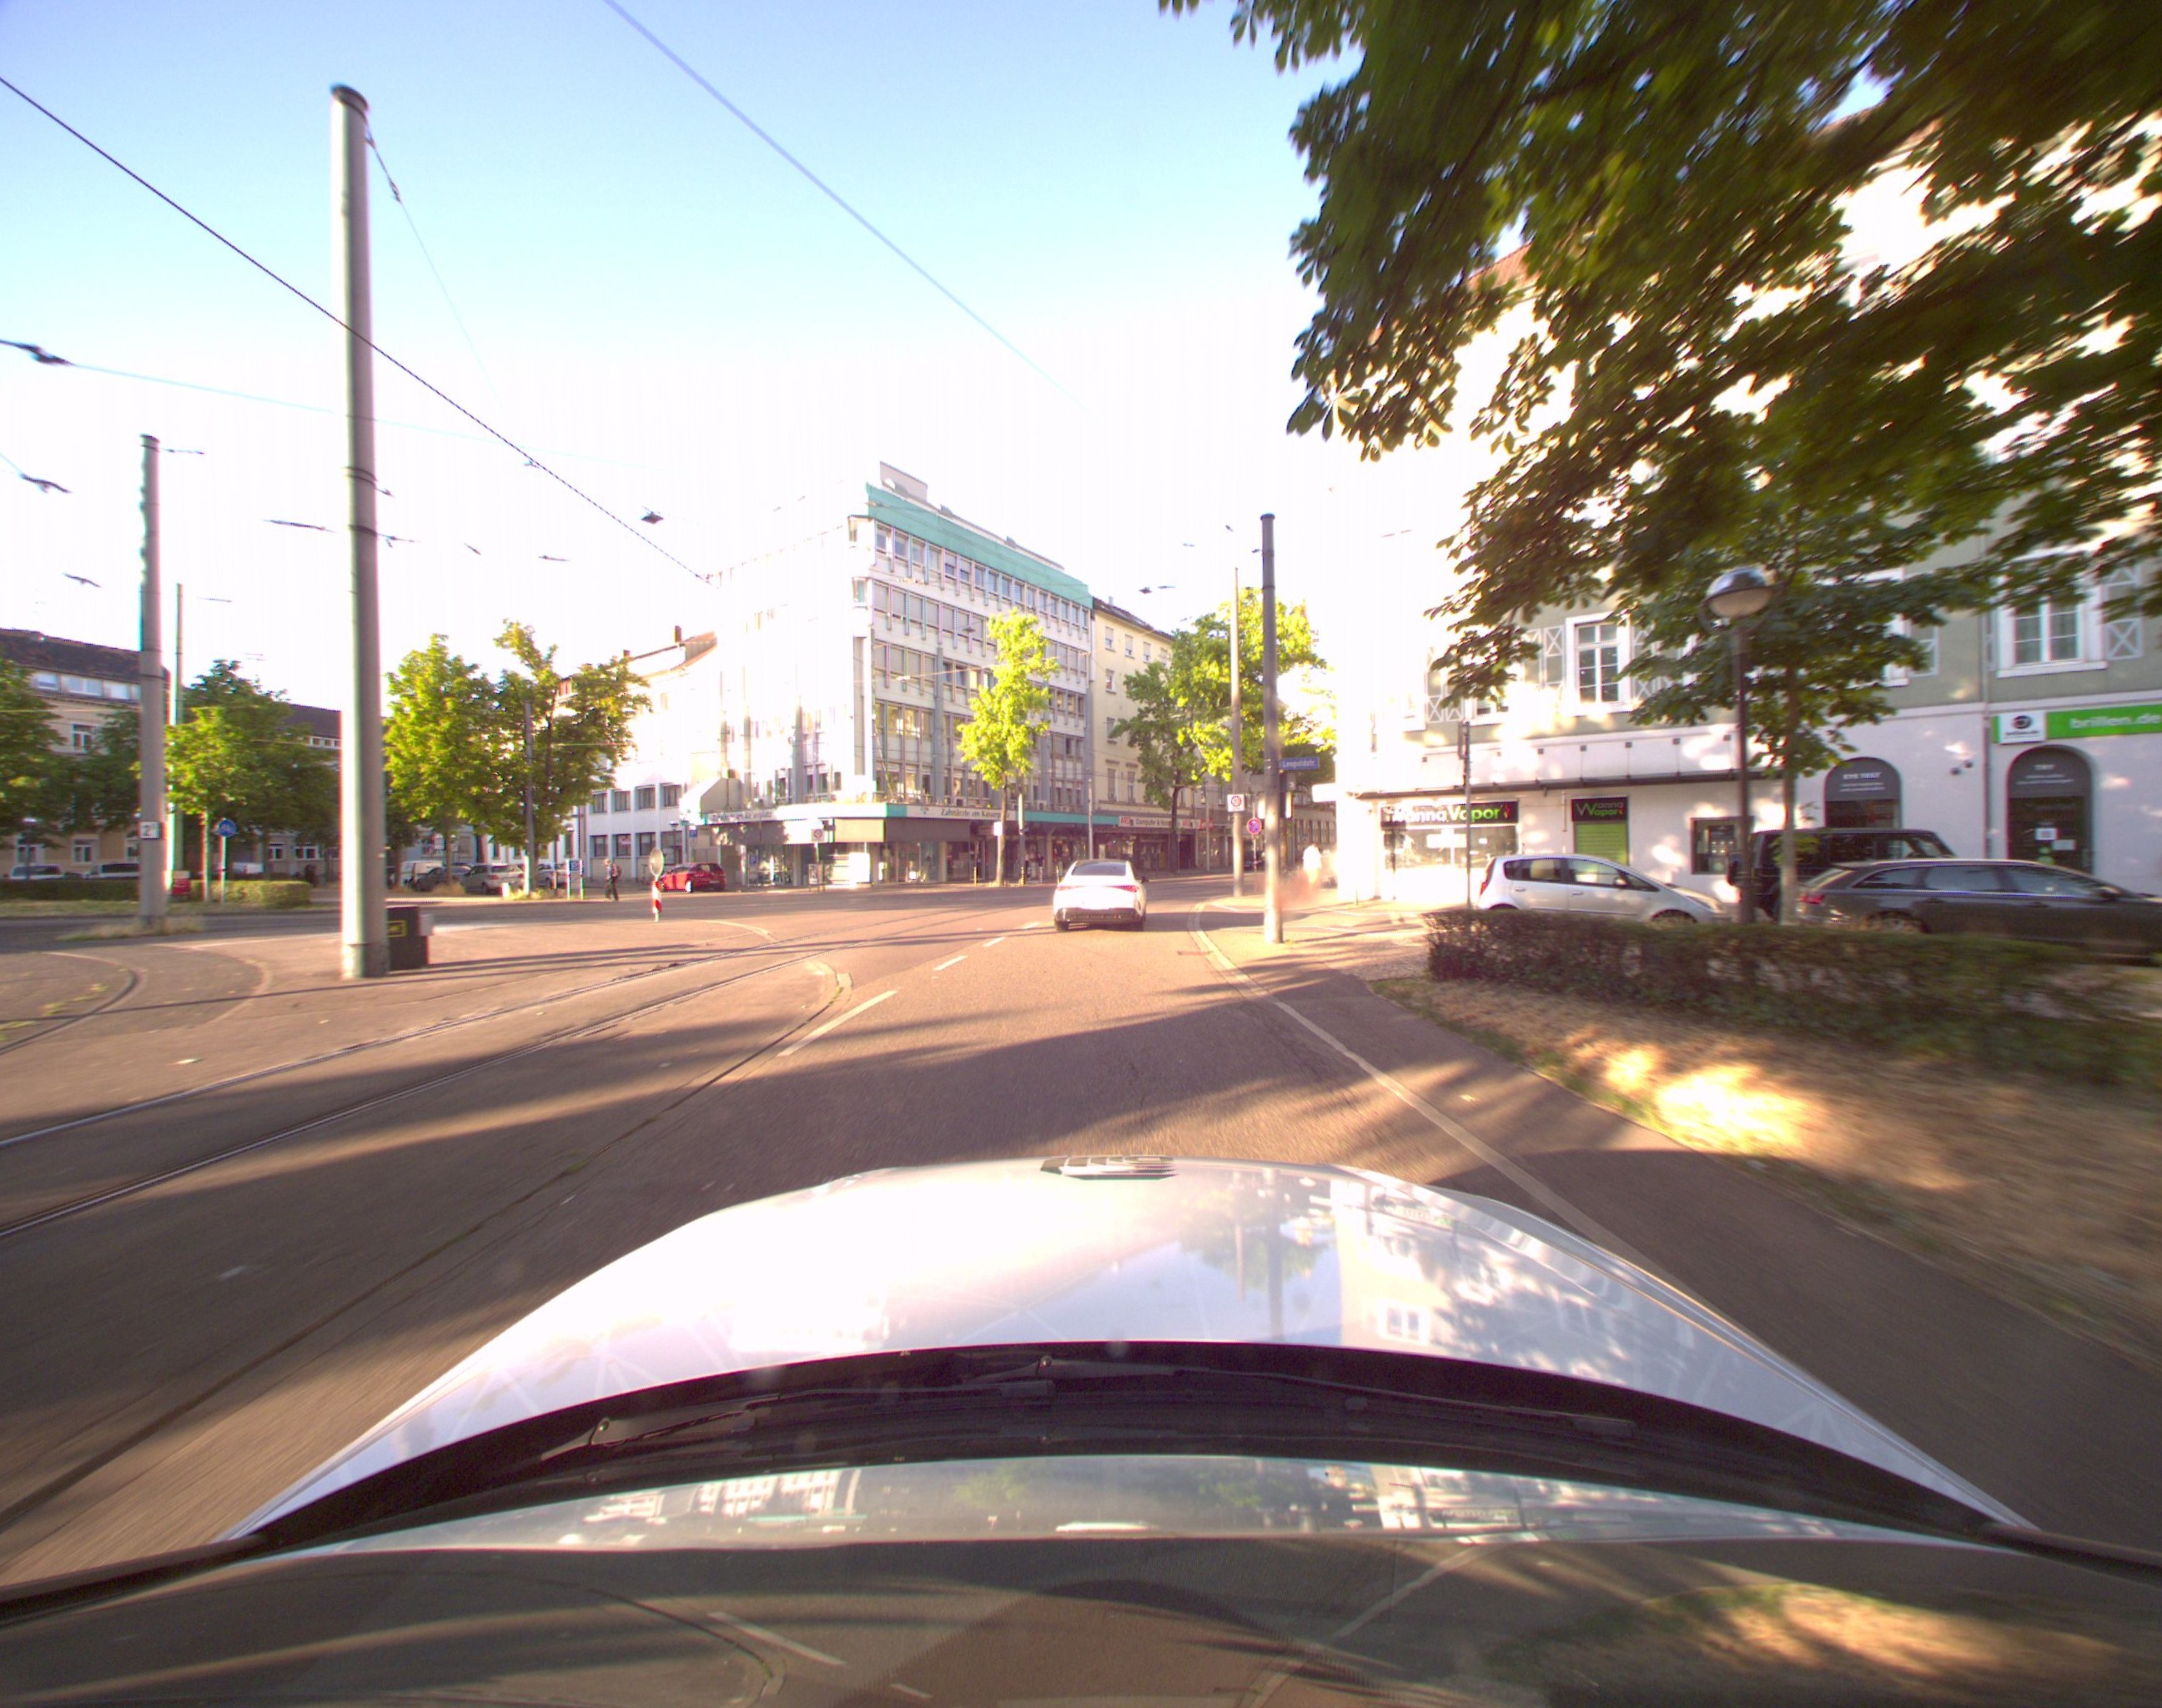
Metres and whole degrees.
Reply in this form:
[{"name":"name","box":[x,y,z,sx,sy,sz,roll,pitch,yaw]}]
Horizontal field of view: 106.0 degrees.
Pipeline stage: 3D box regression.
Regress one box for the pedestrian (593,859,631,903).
[{"name":"pedestrian","box":[-18.636,1.068,32.347,1.168,1.702,0.897,-1,-1,-38]}]

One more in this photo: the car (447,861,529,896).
[{"name":"car","box":[-31.074,1.265,42.634,3.949,1.684,2.012,-1,0,30]}]

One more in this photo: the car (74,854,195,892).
[{"name":"car","box":[-53.842,1.043,46.423,1.978,2.013,4.017,-1,0,16]}]

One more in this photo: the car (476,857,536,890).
[{"name":"car","box":[-37.216,1.236,52.708,3.948,2.014,2.013,-1,0,36]}]

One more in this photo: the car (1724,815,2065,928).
[{"name":"car","box":[15.701,0.324,16.156,4.453,1.963,2.036,-1,0,34]}]

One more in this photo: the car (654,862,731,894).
[{"name":"car","box":[-19.263,1.141,40.352,3.949,1.485,2.039,0,0,41]}]

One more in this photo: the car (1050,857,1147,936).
[{"name":"car","box":[0.439,0.818,17.728,1.860,1.469,4.045,0,0,2]}]

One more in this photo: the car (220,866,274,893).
[{"name":"car","box":[-64.474,1.931,62.959,3.949,2.013,2.012,-1,0,30]}]

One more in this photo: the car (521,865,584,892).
[{"name":"car","box":[-31.812,1.452,48.981,3.948,1.530,2.013,-1,0,38]}]

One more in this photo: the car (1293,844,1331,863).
[{"name":"car","box":[22.291,-0.069,78.344,1.943,1.639,4.843,2,2,36]}]

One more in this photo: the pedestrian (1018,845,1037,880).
[{"name":"pedestrian","box":[-3.130,0.493,47.471,0.789,2.014,0.739,-1,-1,36]}]

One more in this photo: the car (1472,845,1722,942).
[{"name":"car","box":[9.042,0.630,14.452,3.531,1.514,1.750,-1,0,34]}]

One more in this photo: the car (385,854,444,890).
[{"name":"car","box":[-39.831,1.039,48.632,3.949,2.013,2.012,-1,0,40]}]

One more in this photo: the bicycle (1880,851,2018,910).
[{"name":"bicycle","box":[19.114,0.571,17.996,1.962,1.245,0.691,-1,0,35]}]

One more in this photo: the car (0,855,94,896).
[{"name":"car","box":[-54.949,1.090,42.421,1.978,2.013,4.017,-1,0,16]}]

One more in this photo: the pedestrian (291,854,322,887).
[{"name":"pedestrian","box":[-48.356,1.038,50.842,1.446,2.014,1.126,-1,0,36]}]

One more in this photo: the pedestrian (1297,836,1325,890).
[{"name":"pedestrian","box":[8.702,0.342,30.787,0.833,2.014,0.851,-1,-1,29]}]

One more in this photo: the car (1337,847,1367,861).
[{"name":"car","box":[29.678,-0.007,88.996,1.943,1.412,4.877,-1,0,32]}]

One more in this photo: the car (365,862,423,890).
[{"name":"car","box":[-44.016,1.363,52.142,3.948,1.728,2.013,-1,0,37]}]

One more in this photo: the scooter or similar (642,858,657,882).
[{"name":"scooter or similar","box":[-26.829,0.990,50.583,0.757,1.398,1.909,0,0,-30]}]

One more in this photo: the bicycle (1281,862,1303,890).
[{"name":"bicycle","box":[8.420,0.865,32.446,0.351,1.076,1.710,-1,0,32]}]

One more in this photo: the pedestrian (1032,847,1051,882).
[{"name":"pedestrian","box":[-2.288,0.616,47.038,0.789,2.014,0.739,-1,-1,36]}]

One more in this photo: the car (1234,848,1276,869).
[{"name":"car","box":[14.495,0.356,67.673,1.943,1.640,4.026,-1,0,36]}]

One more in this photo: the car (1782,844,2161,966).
[{"name":"car","box":[13.127,0.651,11.559,4.613,1.514,1.750,-1,0,34]}]
